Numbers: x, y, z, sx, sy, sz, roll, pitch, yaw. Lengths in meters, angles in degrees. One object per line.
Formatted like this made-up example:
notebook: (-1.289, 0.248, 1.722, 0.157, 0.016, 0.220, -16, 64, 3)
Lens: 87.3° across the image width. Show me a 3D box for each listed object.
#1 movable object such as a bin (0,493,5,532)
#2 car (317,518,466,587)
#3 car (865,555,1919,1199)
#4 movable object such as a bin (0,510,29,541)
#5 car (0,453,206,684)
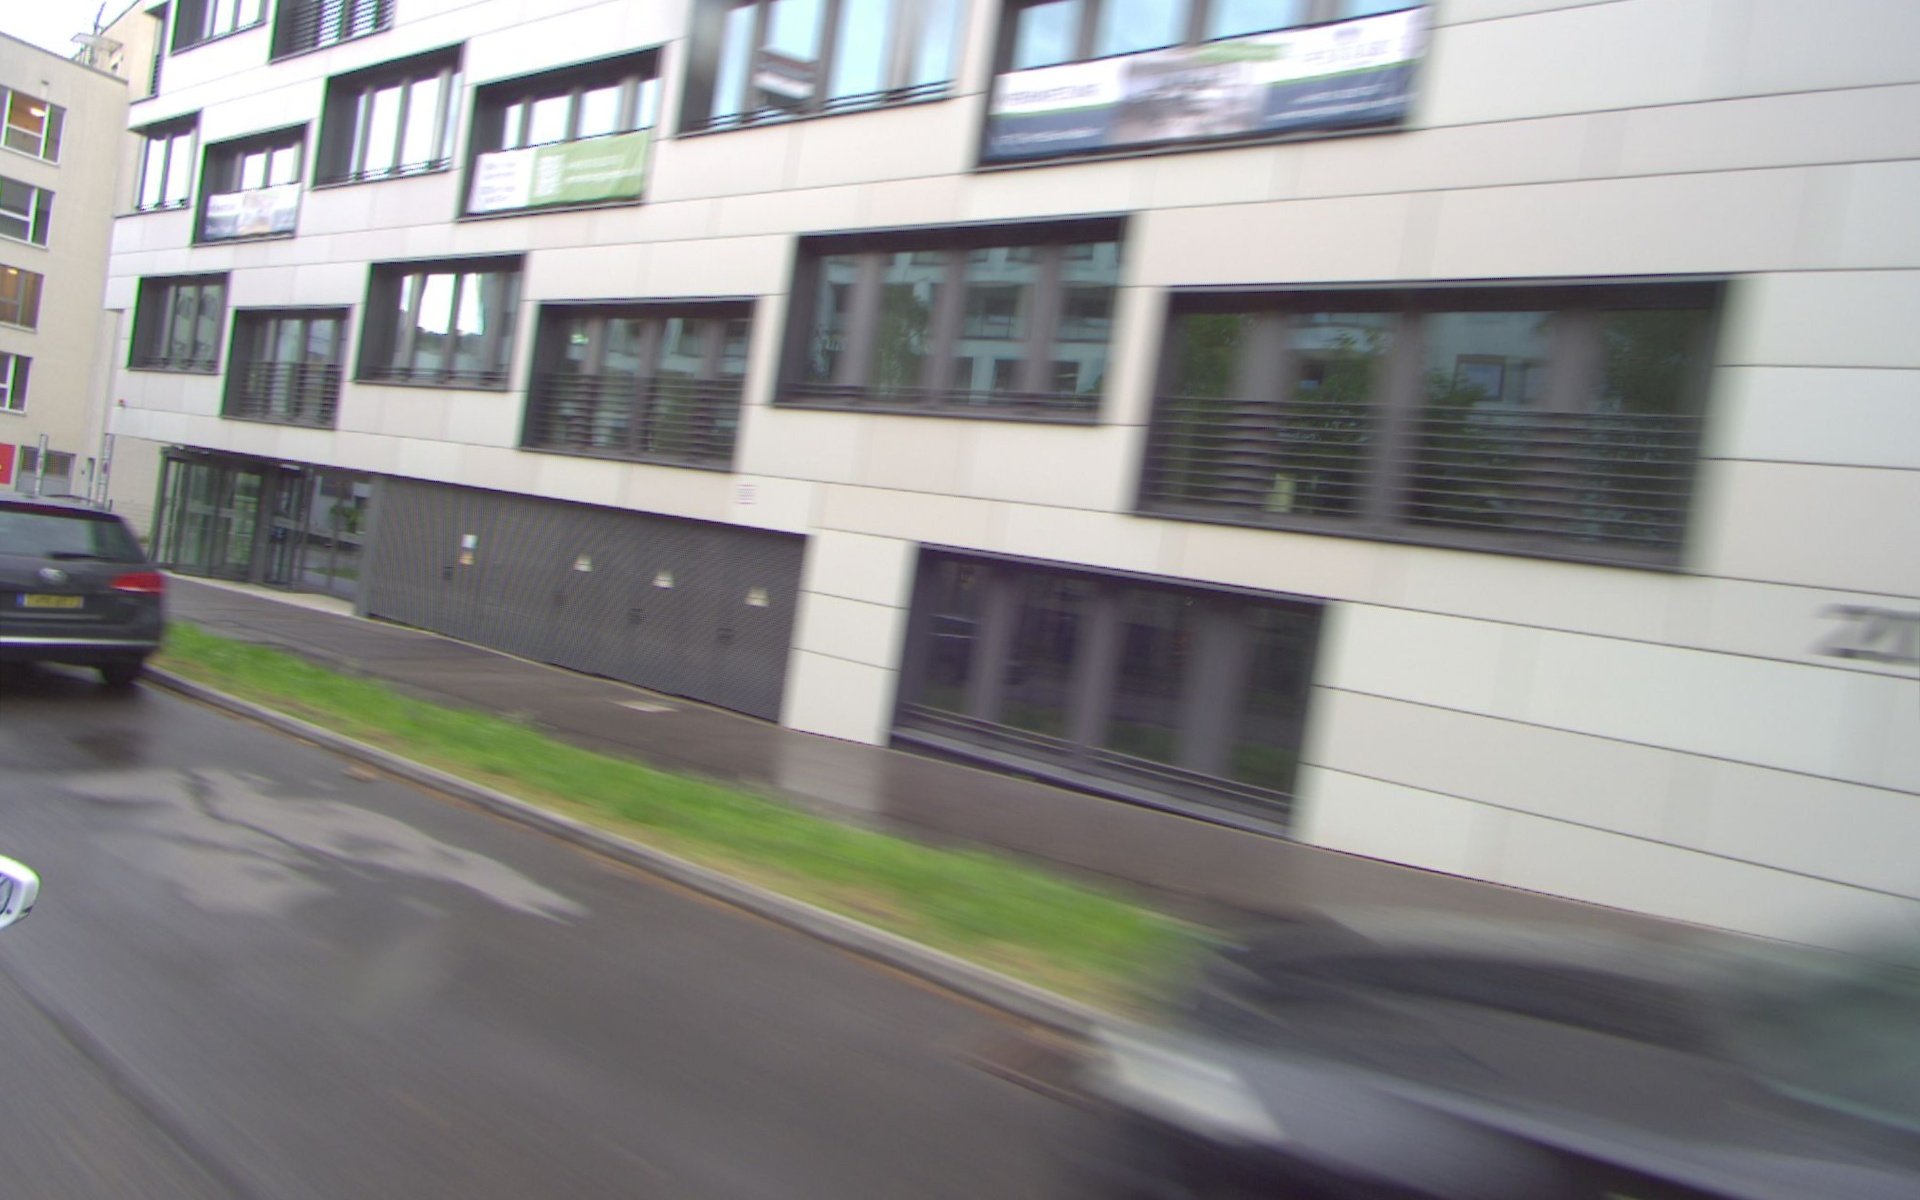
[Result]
movable object such as a bin: (-36.386, -3.340, 37.203, 1.095, 1.419, 1.261, 7, -1, 35)
car: (-19.880, -1.636, 35.322, 1.865, 1.632, 3.994, 6, -4, 36)
car: (2.189, 0.919, 1.634, 4.422, 1.502, 1.810, 6, -2, 33)
movable object such as a bin: (-35.786, -2.815, 38.001, 0.839, 1.039, 0.699, 7, -1, 36)
car: (-8.558, -0.397, 8.547, 4.768, 1.582, 1.810, 6, -2, 33)
